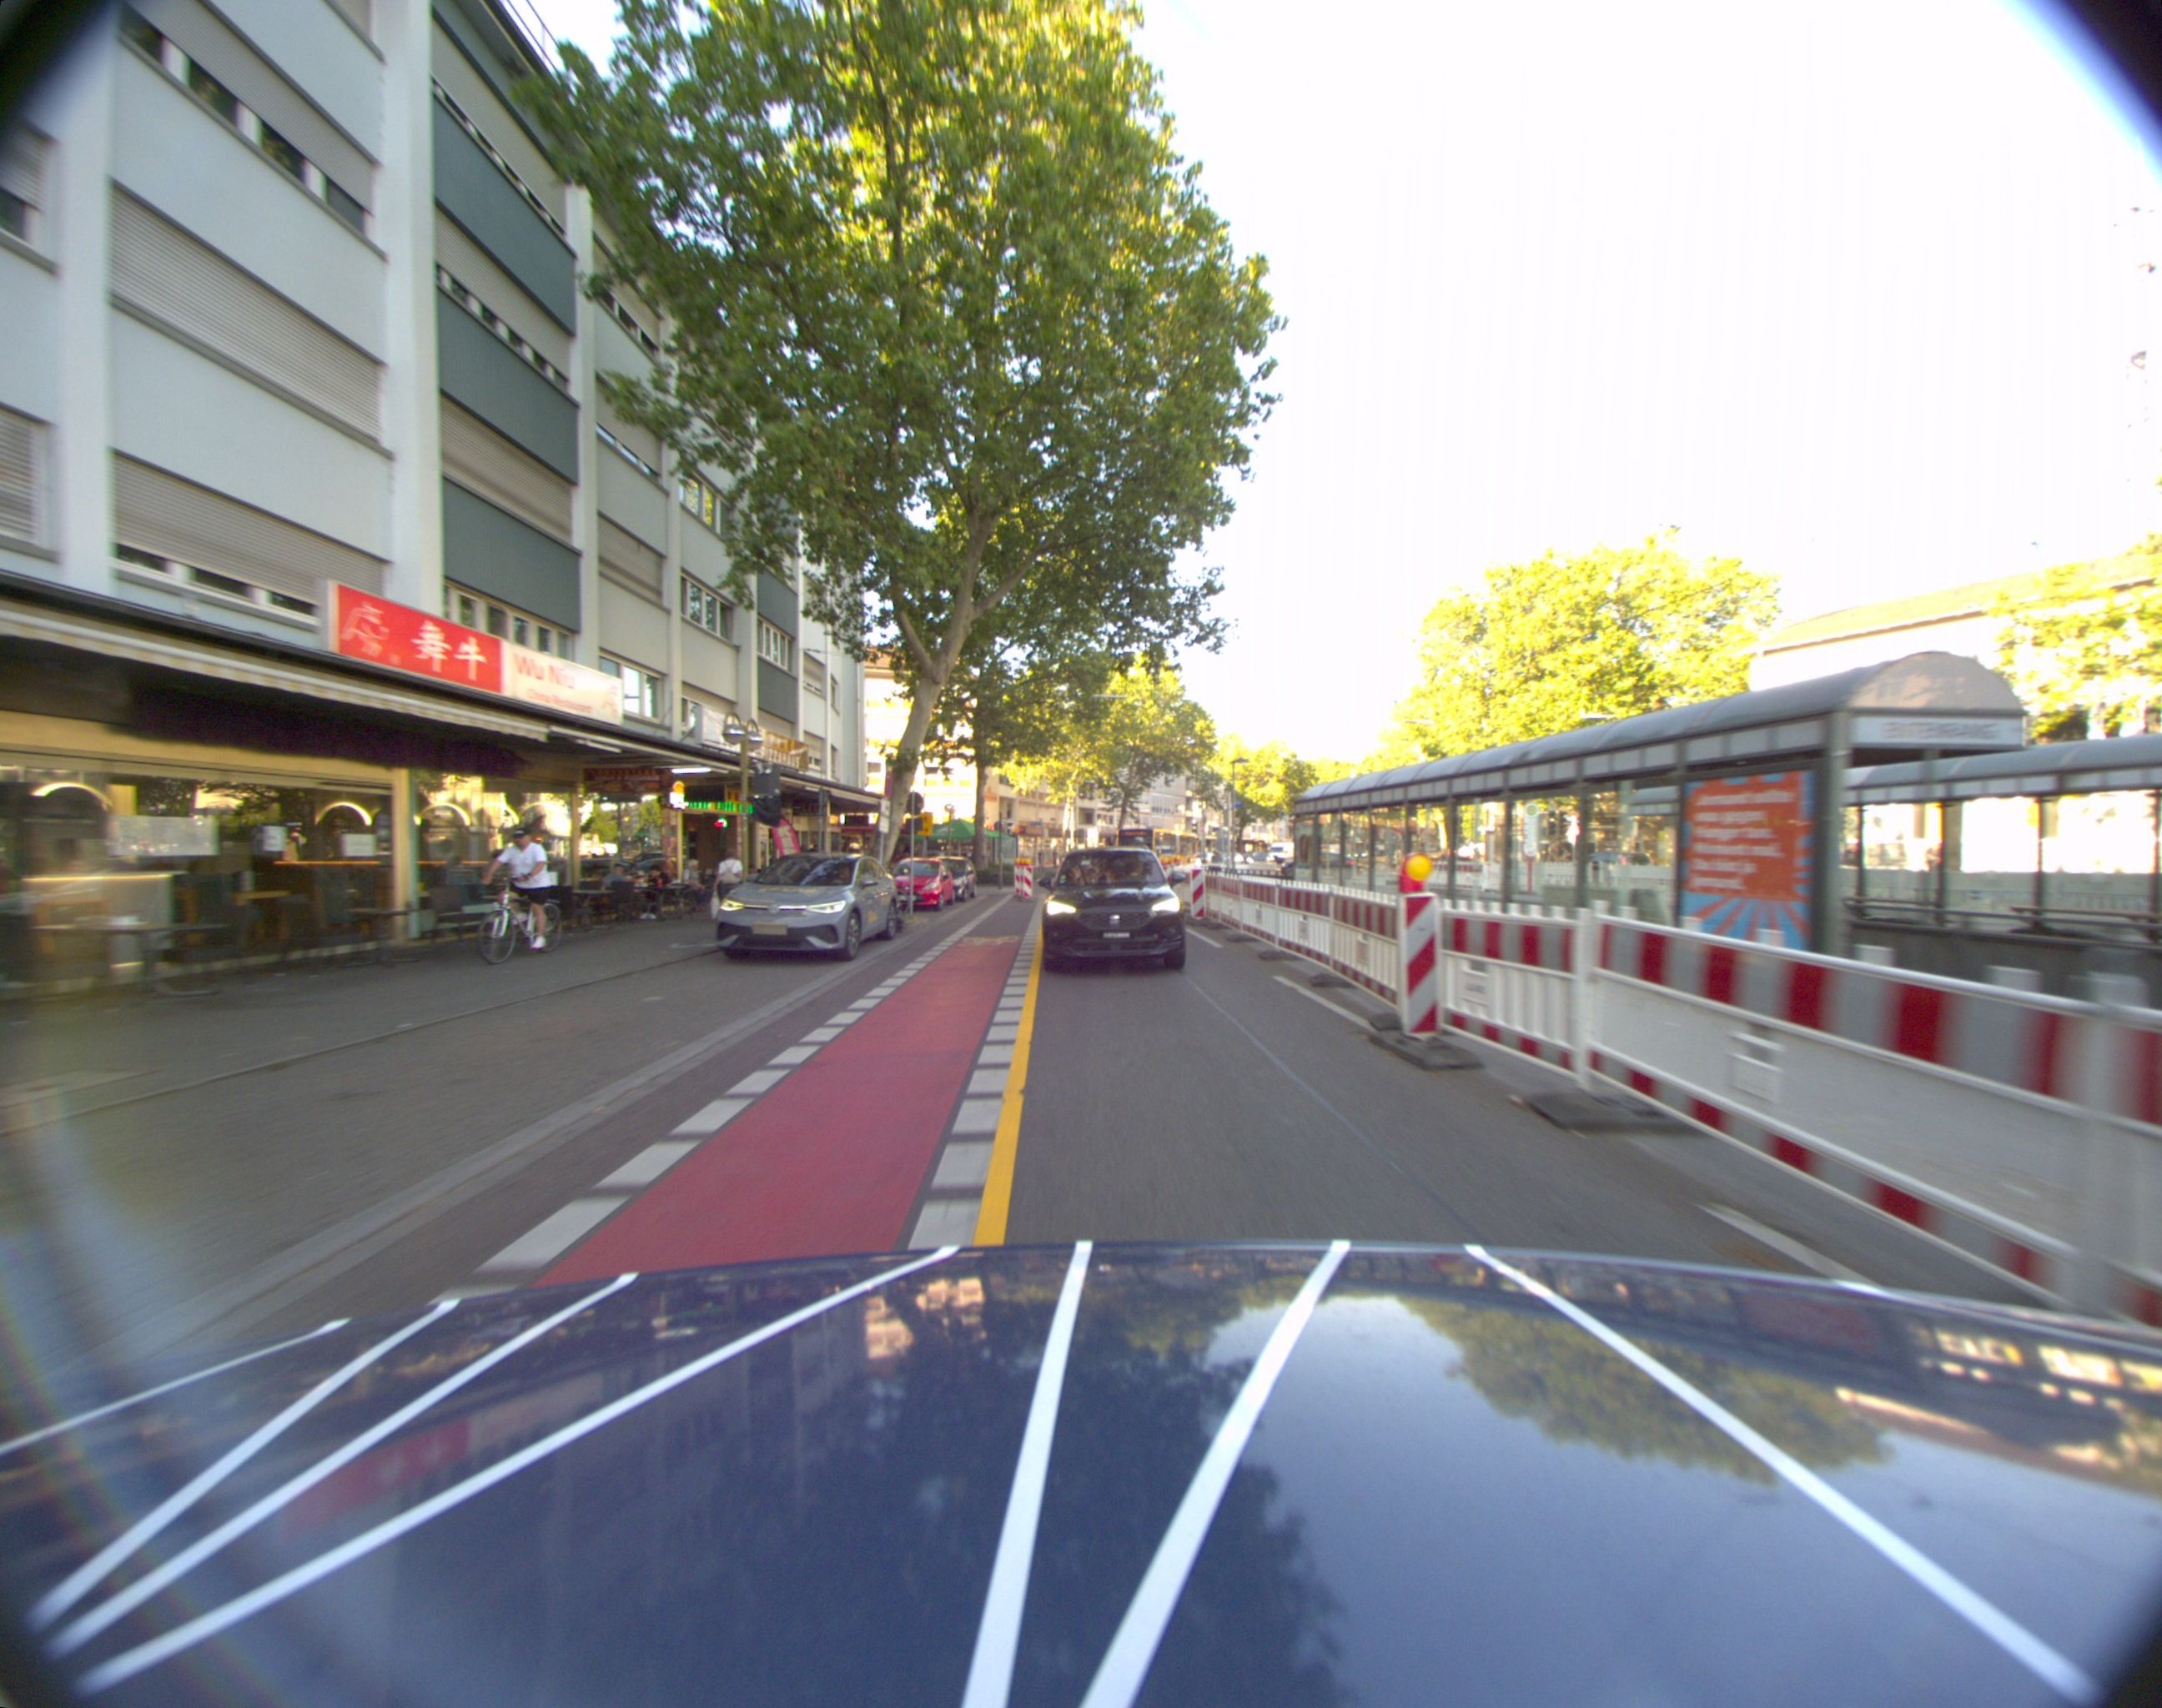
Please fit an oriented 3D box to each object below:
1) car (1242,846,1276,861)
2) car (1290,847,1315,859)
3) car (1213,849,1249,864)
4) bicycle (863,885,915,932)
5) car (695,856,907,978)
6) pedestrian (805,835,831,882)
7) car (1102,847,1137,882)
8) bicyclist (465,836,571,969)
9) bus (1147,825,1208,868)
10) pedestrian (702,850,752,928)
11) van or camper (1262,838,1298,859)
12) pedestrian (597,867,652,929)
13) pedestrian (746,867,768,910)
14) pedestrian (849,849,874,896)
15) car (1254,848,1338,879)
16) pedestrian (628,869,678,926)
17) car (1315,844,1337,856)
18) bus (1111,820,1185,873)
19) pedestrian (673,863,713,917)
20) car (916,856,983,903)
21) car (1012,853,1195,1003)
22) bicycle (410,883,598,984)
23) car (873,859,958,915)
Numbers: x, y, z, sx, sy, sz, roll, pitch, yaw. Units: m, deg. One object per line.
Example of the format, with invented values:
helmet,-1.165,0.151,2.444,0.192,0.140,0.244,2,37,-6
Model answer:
car,19.944,-0.054,84.952,1.994,1.587,4.571,0,1,36
car,29.143,-0.144,99.929,1.994,1.587,4.008,0,1,36
car,15.603,0.260,78.932,1.994,1.586,4.571,0,0,36
bicycle,-4.262,1.194,16.997,0.625,0.879,2.039,2,0,0
car,-4.323,0.864,12.666,1.923,1.588,4.790,1,0,-2
pedestrian,-9.723,0.165,28.130,0.710,1.699,0.678,0,1,0
car,1.986,0.489,38.065,1.609,1.618,3.679,-1,0,5
bicyclist,-7.622,0.630,10.324,0.771,1.699,0.829,2,1,0
bus,8.408,-0.636,64.256,2.734,3.188,12.378,-2,0,18
pedestrian,-7.368,0.722,15.824,0.710,1.576,0.678,1,1,-1
van or camper,24.476,-0.659,93.129,2.286,2.524,5.506,-1,0,37
pedestrian,-9.185,0.872,15.317,0.677,1.220,0.710,0,1,-2
pedestrian,-8.689,0.909,20.411,0.520,1.127,0.507,0,1,-21
pedestrian,-7.342,0.610,25.438,0.584,1.551,0.642,2,1,2
car,12.989,0.571,45.959,4.424,1.638,2.005,3,1,36
pedestrian,-9.156,0.909,16.268,0.677,1.170,0.710,1,1,0
car,34.616,-0.556,107.294,1.994,1.586,4.008,0,0,35
bus,4.948,-0.475,53.053,2.735,3.188,12.321,-2,0,16
pedestrian,-9.287,0.846,18.213,0.646,1.258,0.606,1,1,0
car,-4.545,0.843,26.681,1.659,1.471,3.801,1,0,0
car,0.373,0.816,10.471,1.998,1.637,4.205,-1,0,4
bicycle,-7.649,0.995,10.258,0.778,1.097,2.267,2,0,1
car,-4.733,0.895,22.249,1.735,1.434,3.983,1,0,-2
